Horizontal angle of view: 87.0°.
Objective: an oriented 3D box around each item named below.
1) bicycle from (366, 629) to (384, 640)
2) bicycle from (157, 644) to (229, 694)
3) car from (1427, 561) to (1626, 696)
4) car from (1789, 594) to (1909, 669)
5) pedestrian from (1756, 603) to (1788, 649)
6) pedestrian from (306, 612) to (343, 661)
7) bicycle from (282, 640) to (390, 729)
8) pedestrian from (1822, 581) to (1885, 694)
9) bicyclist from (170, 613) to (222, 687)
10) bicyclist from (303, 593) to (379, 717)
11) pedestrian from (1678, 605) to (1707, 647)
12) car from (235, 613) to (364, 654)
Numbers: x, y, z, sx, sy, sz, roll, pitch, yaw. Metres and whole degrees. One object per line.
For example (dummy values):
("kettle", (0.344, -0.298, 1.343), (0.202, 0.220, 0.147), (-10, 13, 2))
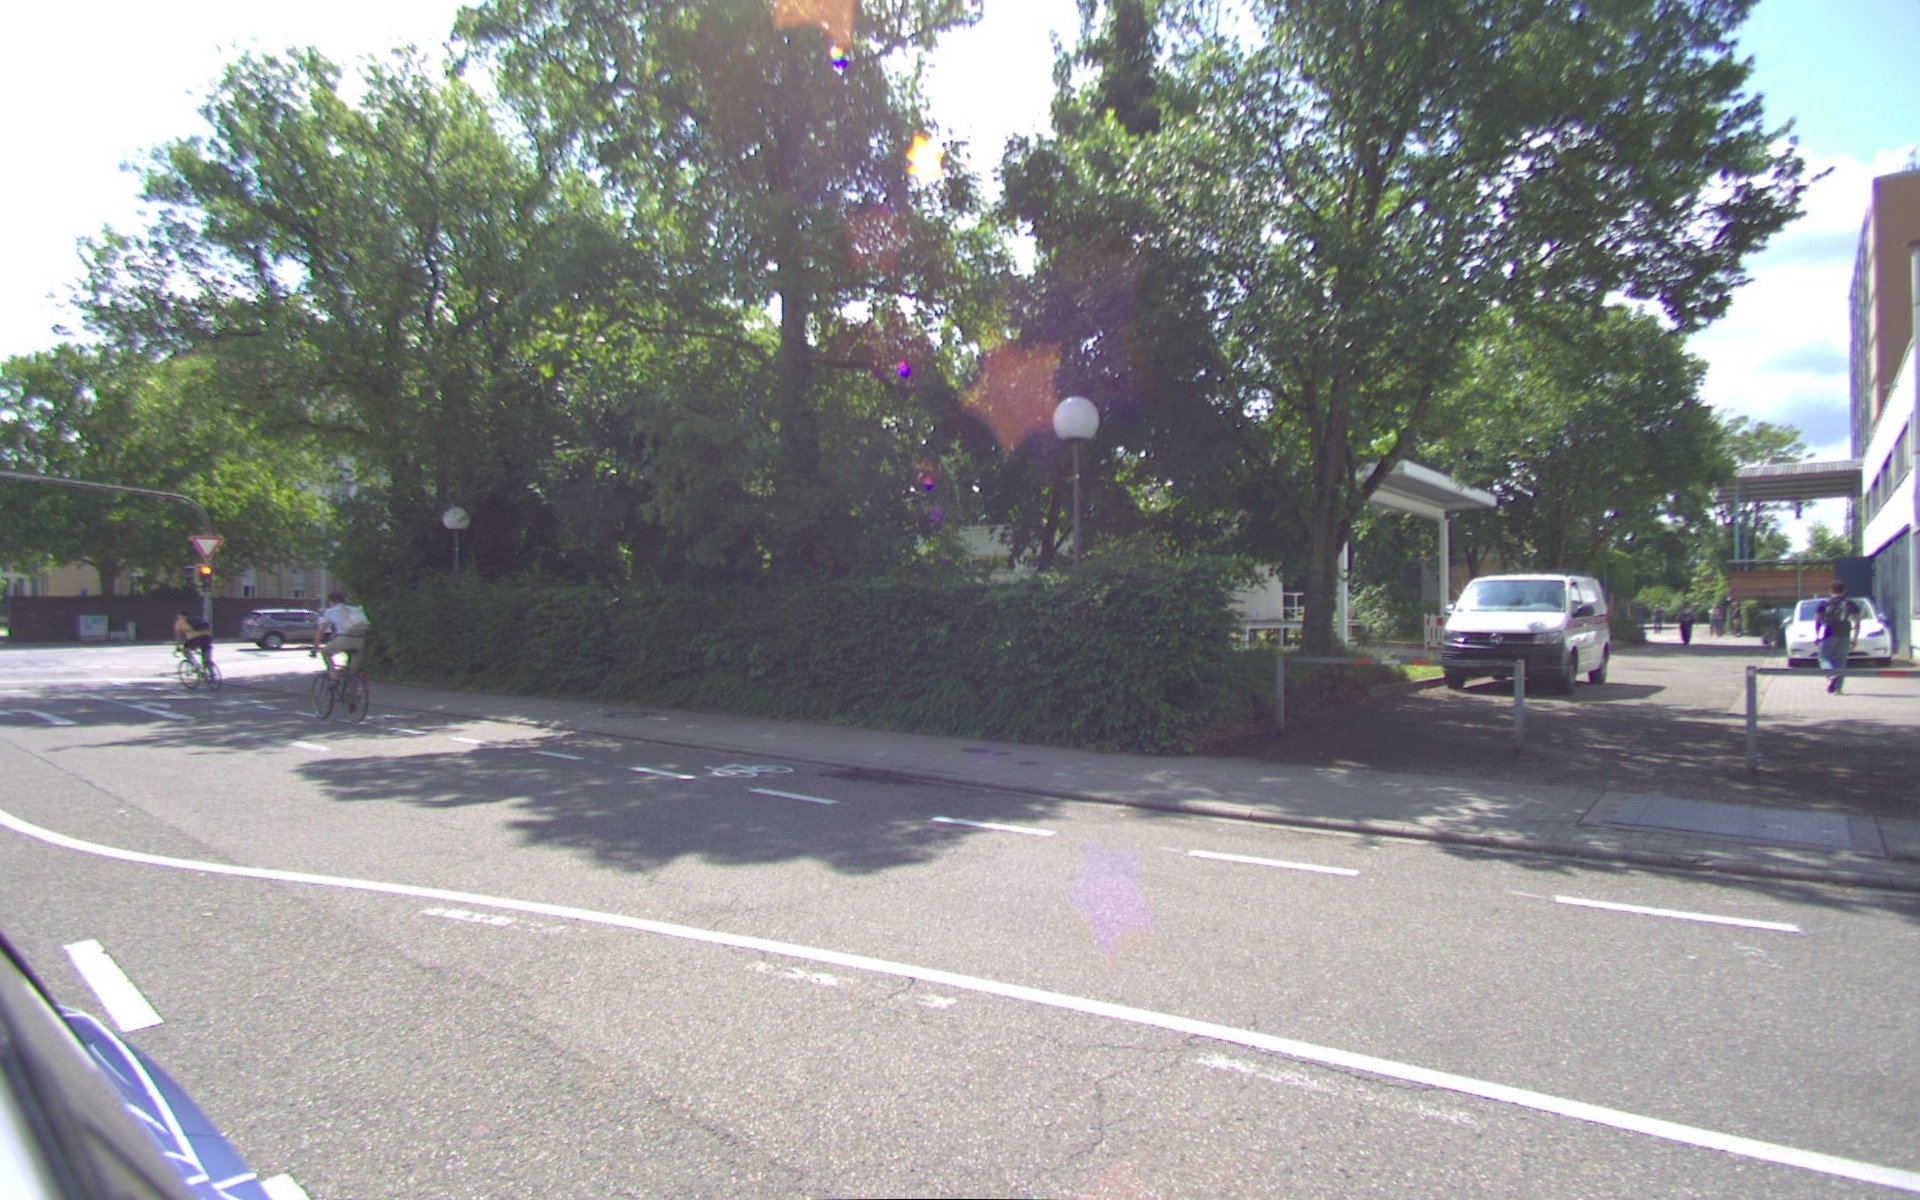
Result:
("bicycle", (-37.379, 2.188, 64.700), (0.998, 0.687, 0.407), (1, 0, 16))
("bicycle", (-16.914, 1.489, 22.291), (2.207, 0.996, 0.785), (-1, -1, 40))
("car", (9.910, 0.434, 17.506), (2.000, 2.001, 4.868), (0, 0, 42))
("car", (21.846, 0.742, 24.867), (2.000, 1.667, 4.867), (-3, -2, 42))
("pedestrian", (27.625, 0.880, 34.419), (0.772, 1.558, 0.816), (-2, -2, 42))
("pedestrian", (-22.505, 1.283, 35.861), (0.854, 1.714, 0.918), (-3, -3, 43))
("bicycle", (-9.280, 1.215, 15.017), (2.207, 1.180, 0.686), (-1, -1, 40))
("pedestrian", (13.604, 0.556, 15.407), (0.666, 1.660, 0.758), (-2, -2, 42))
("bicyclist", (-16.740, 1.075, 22.168), (1.017, 1.560, 0.686), (-1, -1, 39))
("bicyclist", (-9.081, 0.789, 14.843), (0.918, 1.750, 0.686), (-1, -1, 39))
("pedestrian", (27.531, 0.961, 38.019), (0.772, 1.558, 0.816), (-2, -2, 42))
("car", (-28.565, 1.401, 43.827), (4.412, 1.691, 1.826), (1, -1, -45))
